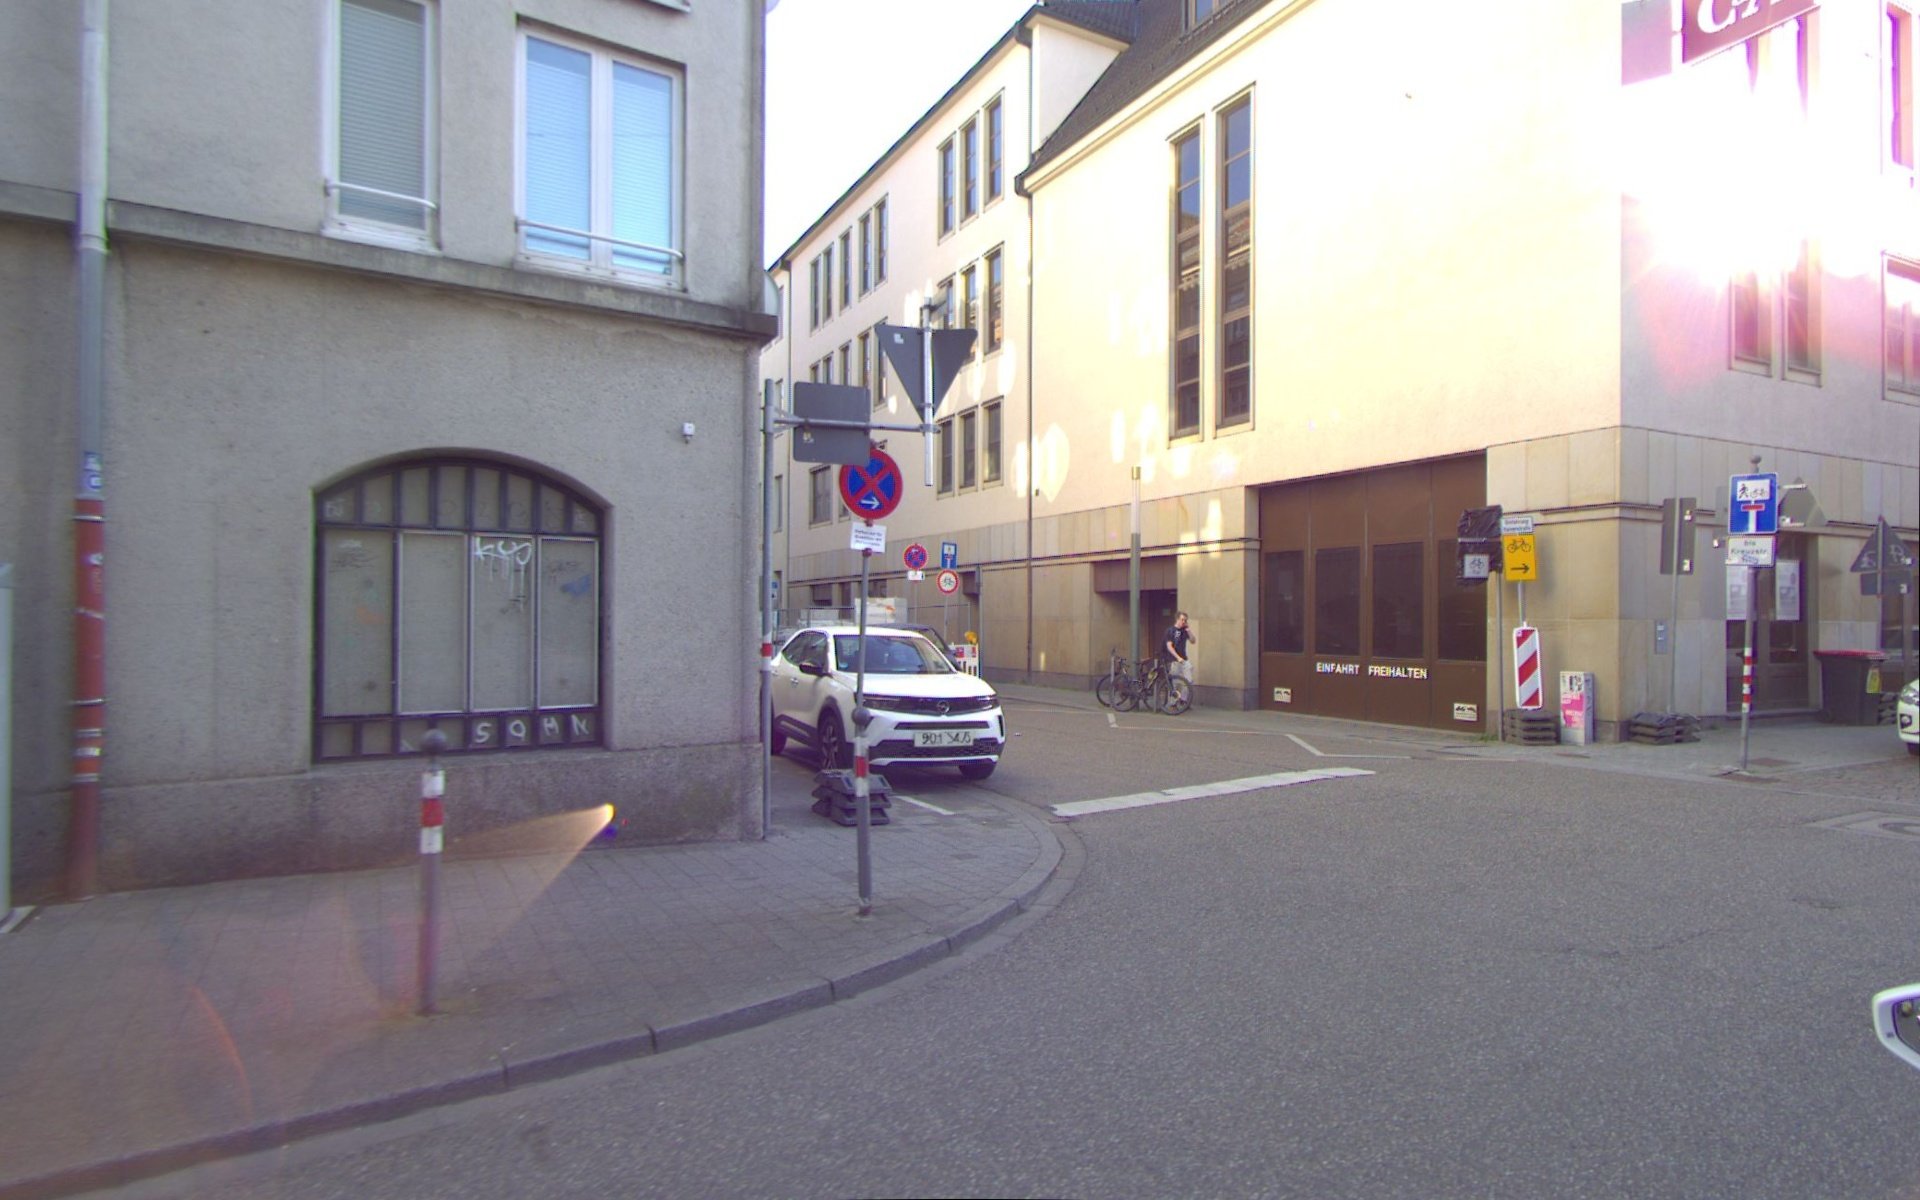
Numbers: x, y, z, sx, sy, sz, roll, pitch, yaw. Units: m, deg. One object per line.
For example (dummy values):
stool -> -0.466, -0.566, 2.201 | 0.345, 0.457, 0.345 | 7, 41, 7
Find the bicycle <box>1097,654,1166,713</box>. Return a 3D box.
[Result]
bicycle -> 3.174, 1.537, 18.696 | 0.268, 1.017, 1.472 | 1, -1, -38

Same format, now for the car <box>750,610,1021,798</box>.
car -> -1.017, 0.990, 11.138 | 1.739, 1.677, 3.976 | 1, -2, -25

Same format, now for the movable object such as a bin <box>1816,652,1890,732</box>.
movable object such as a bin -> 12.921, 1.318, 14.537 | 0.705, 1.075, 0.605 | 1, 1, -33

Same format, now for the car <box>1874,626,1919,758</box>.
car -> 12.939, 1.067, 12.171 | 3.748, 1.526, 1.663 | 1, -3, -30

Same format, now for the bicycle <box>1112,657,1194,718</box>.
bicycle -> 3.430, 1.548, 17.945 | 0.223, 0.978, 1.680 | 1, -1, -40

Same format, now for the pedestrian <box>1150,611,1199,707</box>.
pedestrian -> 3.970, 1.075, 18.607 | 0.681, 1.725, 0.663 | 0, 0, 36

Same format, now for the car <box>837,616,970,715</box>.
car -> -1.195, 1.224, 19.178 | 1.734, 1.677, 3.989 | 0, -3, -15
